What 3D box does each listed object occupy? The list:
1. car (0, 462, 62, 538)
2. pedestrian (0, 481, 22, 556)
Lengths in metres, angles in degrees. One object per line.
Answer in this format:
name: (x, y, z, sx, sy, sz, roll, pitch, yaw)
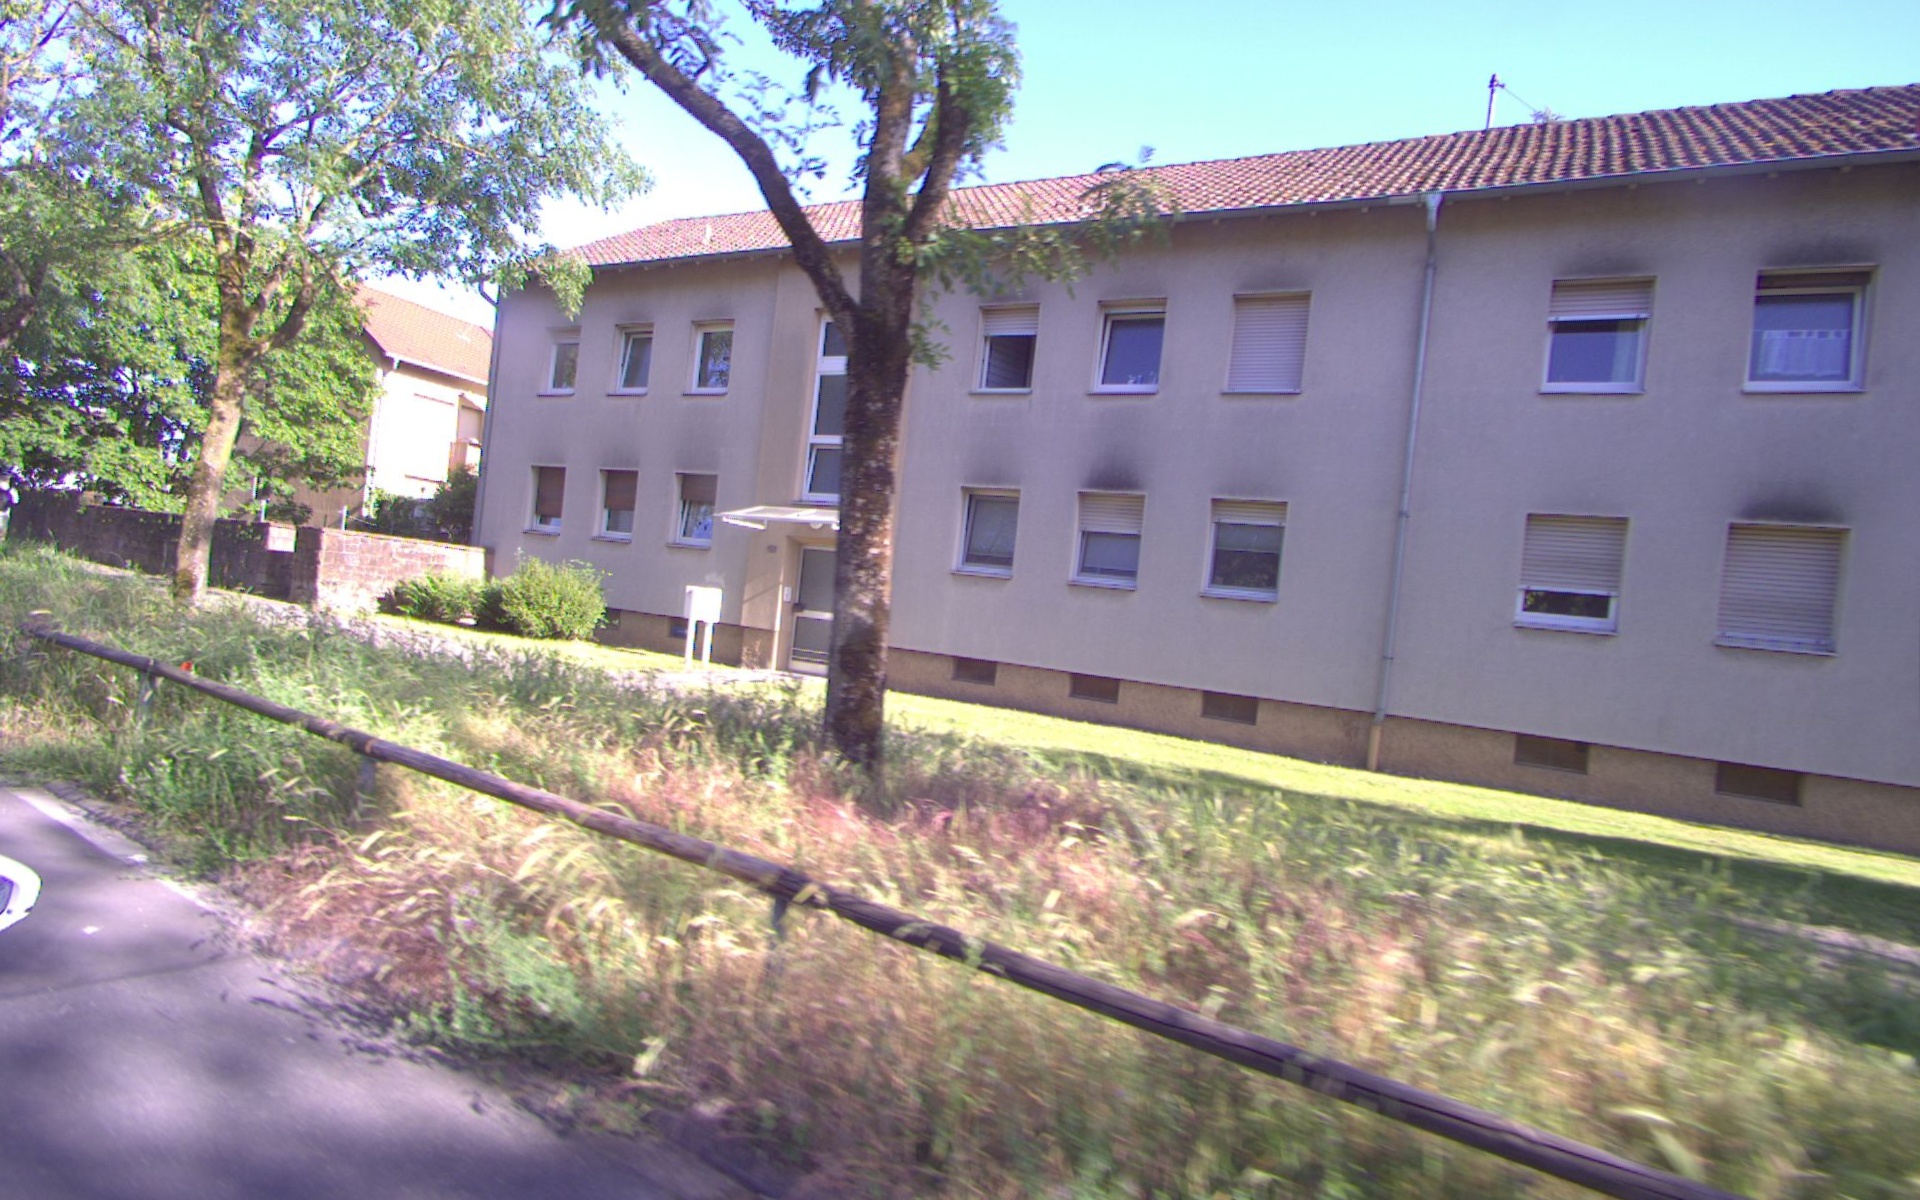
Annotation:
car: (-36.660, -3.937, 36.436, 2.227, 2.570, 5.604, 7, 0, 29)
pedestrian: (-22.745, -1.953, 23.775, 0.602, 1.729, 0.637, 8, 4, 31)
